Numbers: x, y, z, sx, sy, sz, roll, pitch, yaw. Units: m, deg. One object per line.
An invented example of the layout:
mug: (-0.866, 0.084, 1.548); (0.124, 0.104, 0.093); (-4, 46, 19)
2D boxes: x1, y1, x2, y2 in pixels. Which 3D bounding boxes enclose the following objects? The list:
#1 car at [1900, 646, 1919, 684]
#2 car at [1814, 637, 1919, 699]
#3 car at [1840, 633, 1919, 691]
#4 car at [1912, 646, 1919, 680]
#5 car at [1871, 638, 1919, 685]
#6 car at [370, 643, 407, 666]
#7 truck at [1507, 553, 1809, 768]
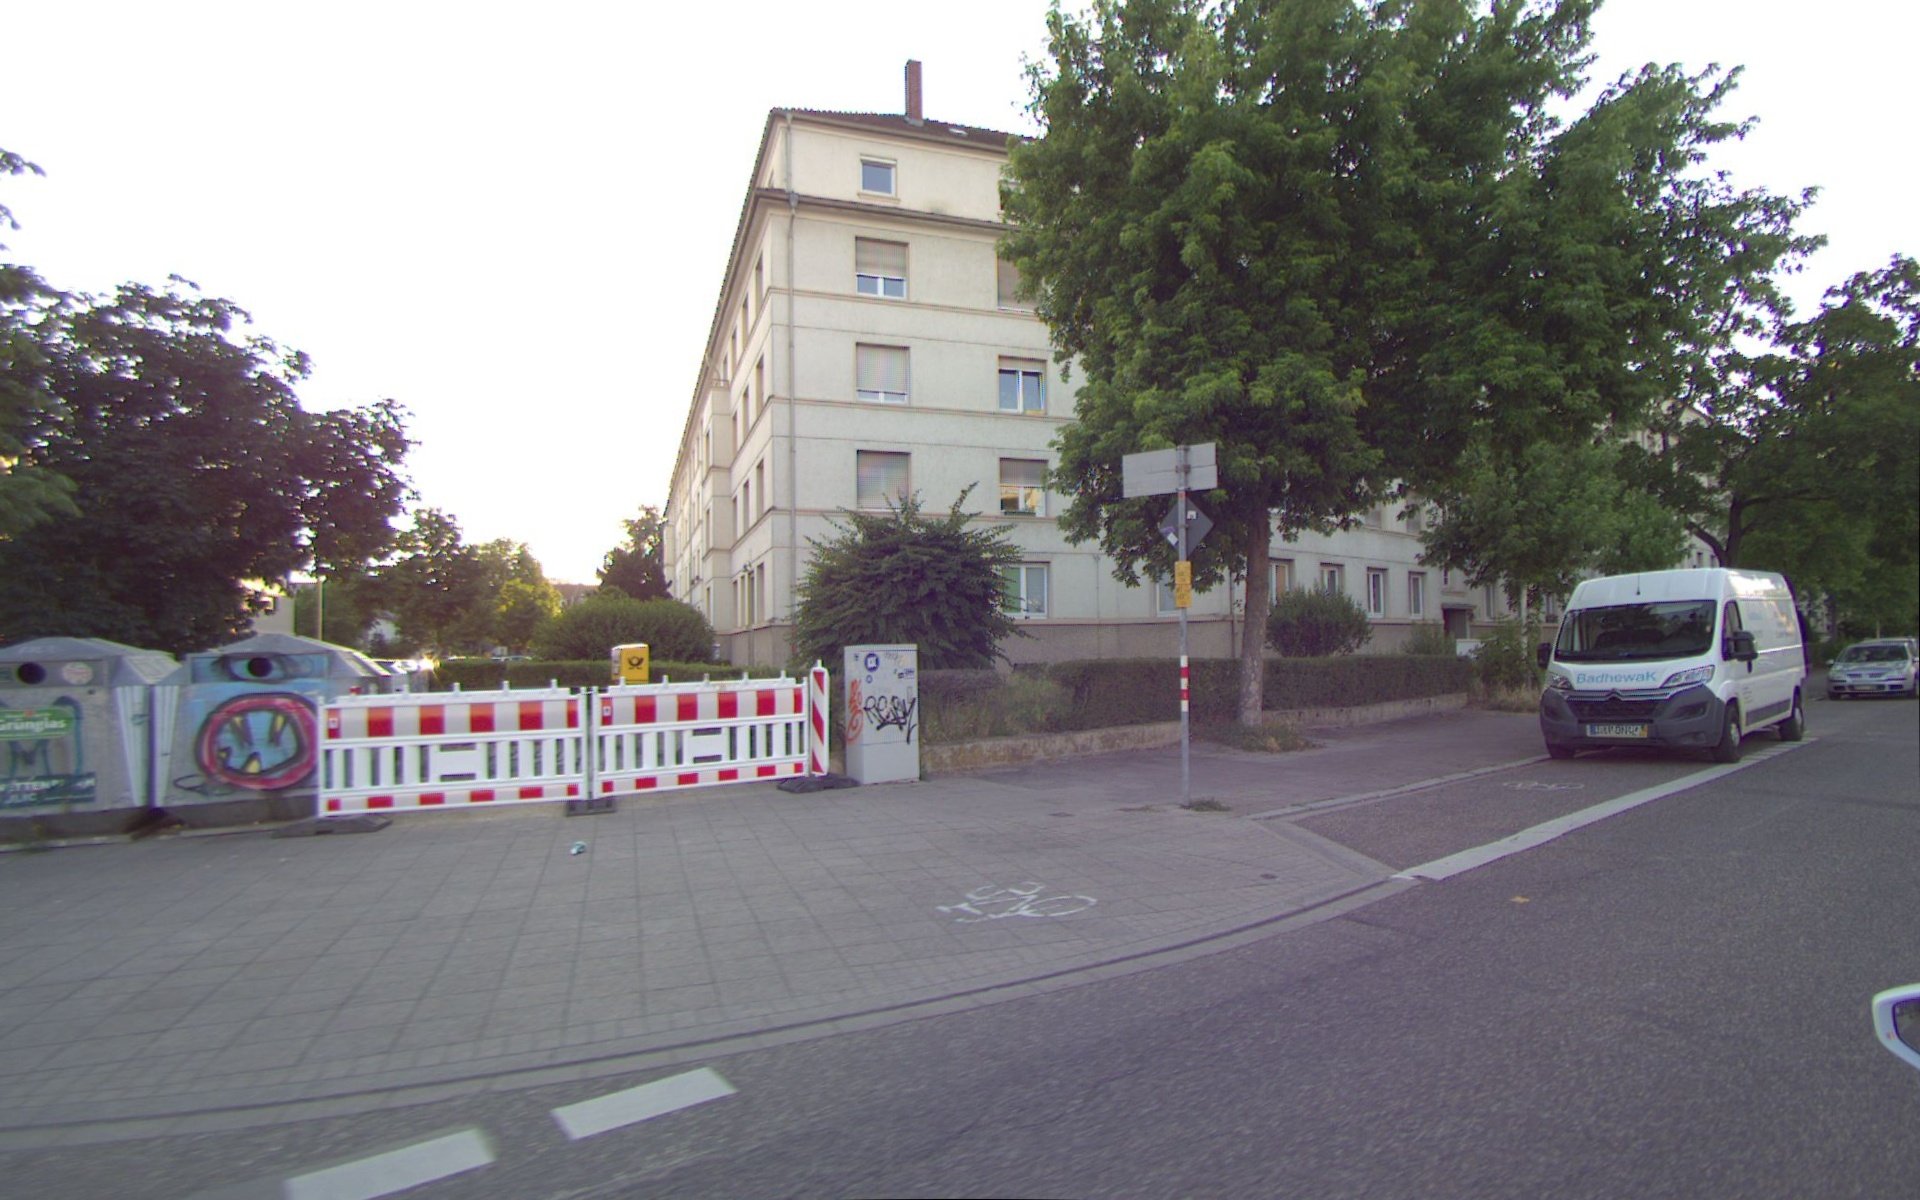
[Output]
car: (39.198, 2.551, 40.267); (3.717, 1.442, 1.764); (2, -7, -41)
car: (24.349, 1.800, 26.793); (3.897, 1.502, 1.742); (2, -7, -41)
car: (28.589, 1.899, 30.842); (3.897, 1.624, 1.742); (2, -7, -41)
car: (42.957, 2.680, 43.772); (3.427, 1.461, 1.742); (2, -7, -41)
car: (32.077, 2.025, 33.674); (3.897, 1.461, 1.742); (2, -7, -41)
car: (-38.928, 3.702, 68.461); (1.596, 1.488, 3.979); (0, -3, -21)
truck: (10.062, 0.831, 14.225); (6.001, 2.454, 2.083); (2, -5, -42)
